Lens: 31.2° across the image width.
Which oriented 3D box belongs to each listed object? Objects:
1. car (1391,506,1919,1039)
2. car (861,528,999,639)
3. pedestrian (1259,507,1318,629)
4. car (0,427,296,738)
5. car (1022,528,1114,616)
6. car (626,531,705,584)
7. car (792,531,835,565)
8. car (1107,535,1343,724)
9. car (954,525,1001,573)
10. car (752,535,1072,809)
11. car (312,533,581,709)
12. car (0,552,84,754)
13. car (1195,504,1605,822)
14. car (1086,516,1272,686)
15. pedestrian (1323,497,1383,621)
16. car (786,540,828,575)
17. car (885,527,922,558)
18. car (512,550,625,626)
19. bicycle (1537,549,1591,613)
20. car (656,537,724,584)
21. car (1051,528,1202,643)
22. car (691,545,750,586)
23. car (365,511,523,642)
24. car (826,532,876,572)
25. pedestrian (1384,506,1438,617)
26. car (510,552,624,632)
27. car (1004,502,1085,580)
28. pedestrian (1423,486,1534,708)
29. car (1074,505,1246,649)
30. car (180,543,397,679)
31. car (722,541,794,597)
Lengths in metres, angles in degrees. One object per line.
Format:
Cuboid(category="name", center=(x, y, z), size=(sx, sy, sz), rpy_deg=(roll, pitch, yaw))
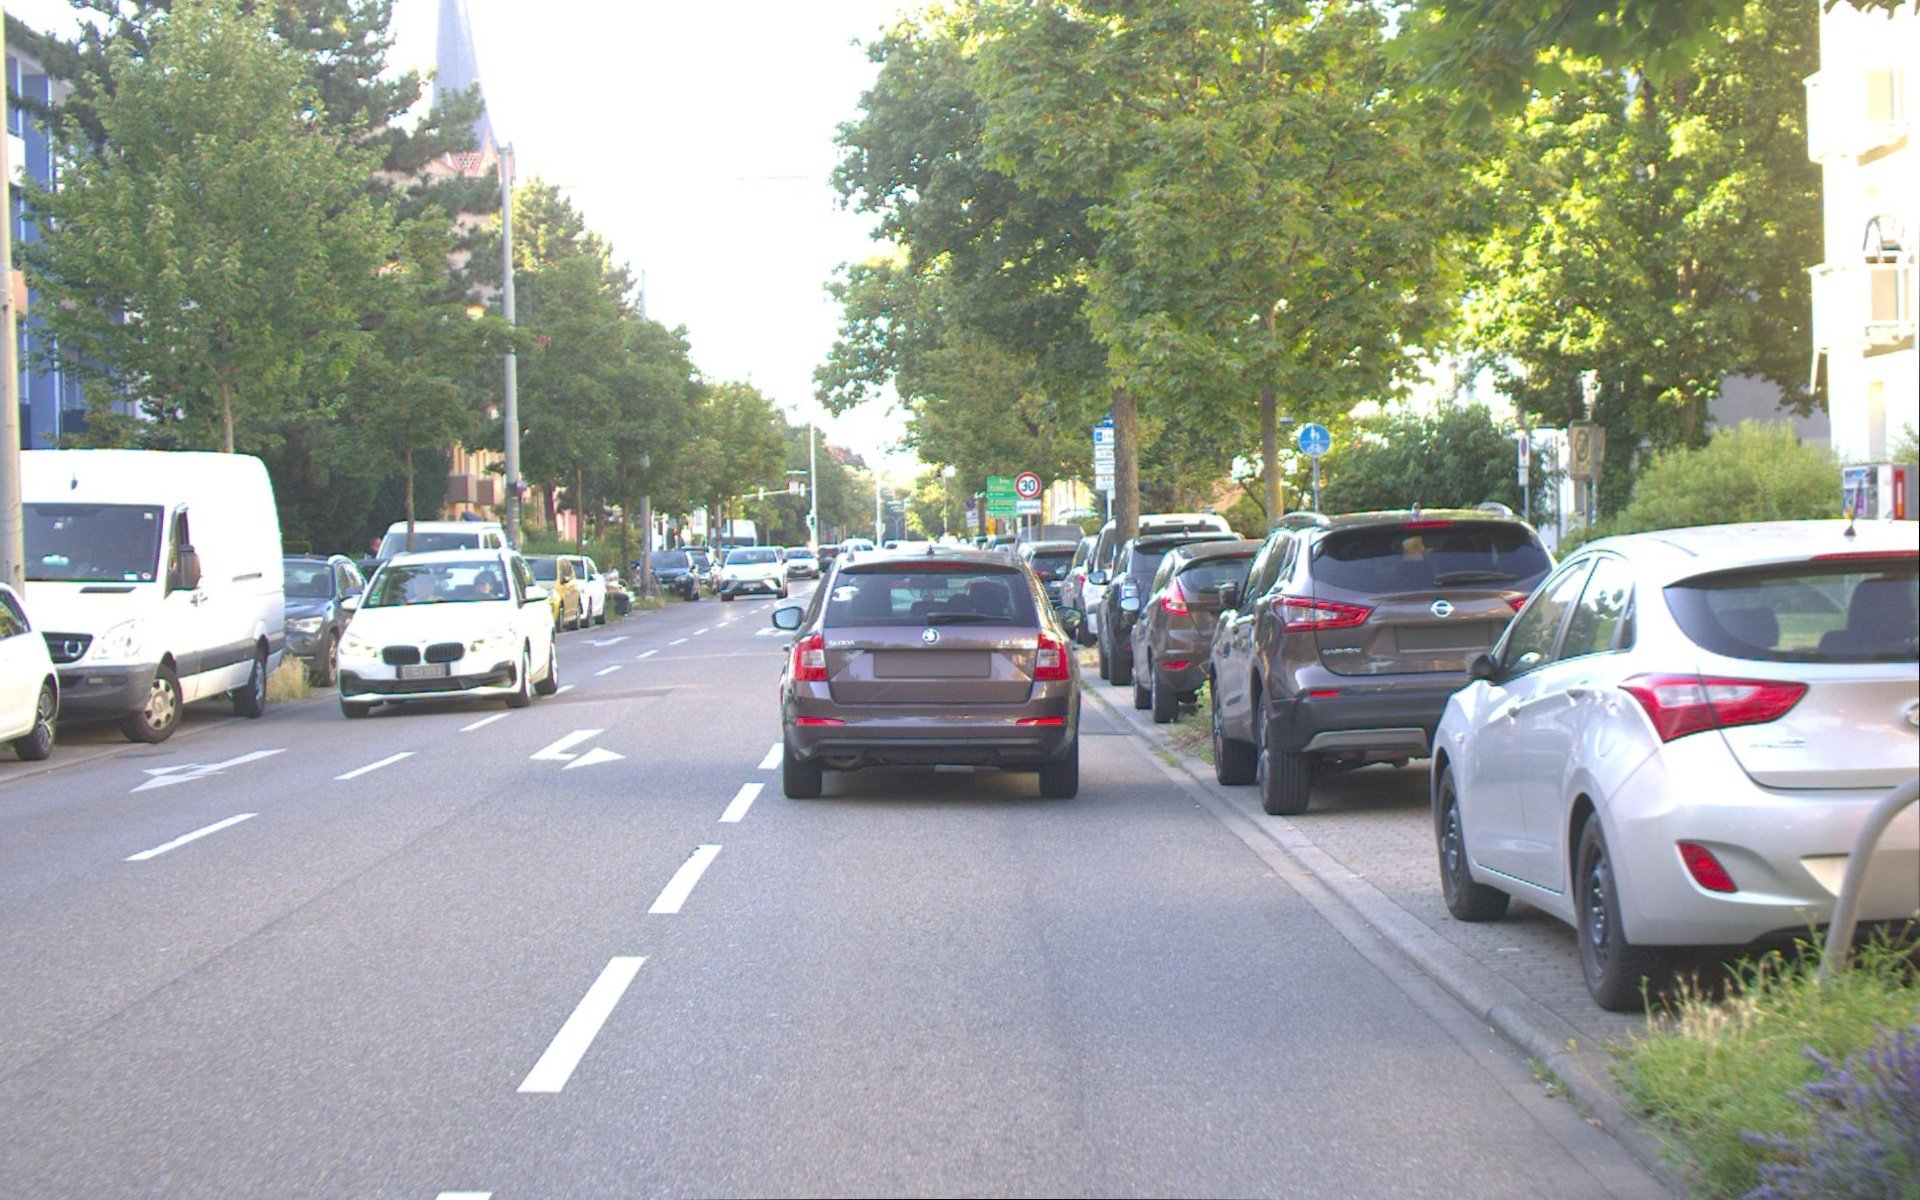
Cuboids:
Cuboid(category="car", center=(2.695, 0.442, 11.898), size=(1.718, 1.489, 4.394), rpy_deg=(-1, 1, -2))
Cuboid(category="car", center=(-0.466, -0.232, 50.934), size=(1.892, 1.501, 3.790), rpy_deg=(3, 0, -1))
Cuboid(category="pedestrian", center=(5.087, -0.493, 53.252), size=(0.749, 1.854, 1.068), rpy_deg=(-1, 1, -1))
Cuboid(category="car", center=(-7.897, -0.209, 32.447), size=(1.993, 2.607, 7.106), rpy_deg=(0, 1, -1))
Cuboid(category="car", center=(2.136, -0.576, 68.760), size=(1.754, 1.681, 4.252), rpy_deg=(1, 1, 1))
Cuboid(category="car", center=(-8.460, -1.234, 99.038), size=(1.781, 1.475, 4.033), rpy_deg=(1, 1, 2))
Cuboid(category="car", center=(-7.764, -2.728, 181.659), size=(1.993, 1.744, 4.001), rpy_deg=(-1, 1, -6))
Cuboid(category="car", center=(2.210, 0.207, 29.503), size=(1.613, 1.461, 3.959), rpy_deg=(-2, 1, -1))
Cuboid(category="car", center=(0.676, -1.978, 133.331), size=(1.754, 1.799, 4.000), rpy_deg=(1, 1, 0))
Cuboid(category="car", center=(-0.229, 0.366, 21.011), size=(1.754, 1.487, 4.000), rpy_deg=(1, 1, 1))
Cuboid(category="car", center=(-5.038, 0.161, 34.270), size=(1.879, 1.537, 4.267), rpy_deg=(-3, 1, 1))
Cuboid(category="car", center=(-8.037, 0.379, 26.152), size=(1.706, 1.487, 4.059), rpy_deg=(2, 1, -1))
Cuboid(category="car", center=(2.382, 0.286, 19.558), size=(1.718, 1.595, 4.096), rpy_deg=(-1, 1, -1))
Cuboid(category="car", center=(2.281, -0.028, 36.715), size=(1.754, 1.657, 4.252), rpy_deg=(-2, 1, 1))
Cuboid(category="pedestrian", center=(6.002, -0.634, 52.451), size=(0.799, 1.854, 0.950), rpy_deg=(-1, 1, 10))
Cuboid(category="car", center=(-6.970, -1.952, 156.995), size=(1.739, 1.474, 4.310), rpy_deg=(-4, 1, -1))
Cuboid(category="car", center=(-3.027, -3.044, 182.943), size=(1.644, 1.593, 3.651), rpy_deg=(-1, 1, -6))
Cuboid(category="car", center=(-8.120, -0.271, 71.577), size=(1.781, 1.489, 3.971), rpy_deg=(1, 1, 2))
Cuboid(category="bicycle", center=(9.196, -0.302, 52.368), size=(0.475, 0.941, 1.680), rpy_deg=(-1, 1, -1))
Cuboid(category="car", center=(-8.733, -1.304, 111.557), size=(1.781, 1.475, 3.971), rpy_deg=(1, 1, 2))
Cuboid(category="car", center=(2.406, -0.237, 50.656), size=(1.754, 1.551, 4.253), rpy_deg=(-2, 1, -3))
Cuboid(category="car", center=(-8.878, -1.308, 127.729), size=(1.781, 1.475, 3.971), rpy_deg=(1, 1, 2))
Cuboid(category="car", center=(-8.291, -0.406, 55.601), size=(1.868, 2.024, 5.301), rpy_deg=(0, 1, -1))
Cuboid(category="car", center=(-4.173, -1.841, 131.540), size=(1.780, 1.475, 3.971), rpy_deg=(1, 1, -4))
Cuboid(category="pedestrian", center=(7.118, -0.613, 54.281), size=(0.799, 1.716, 0.744), rpy_deg=(-1, 1, 8))
Cuboid(category="car", center=(-7.533, -0.181, 66.200), size=(1.619, 1.475, 3.871), rpy_deg=(1, 1, 2))
Cuboid(category="car", center=(2.079, -1.466, 85.191), size=(1.916, 1.854, 5.633), rpy_deg=(-1, 1, 1))
Cuboid(category="pedestrian", center=(4.020, -0.026, 26.706), size=(0.788, 1.694, 0.807), rpy_deg=(0, 0, 4))
Cuboid(category="car", center=(2.616, -0.328, 45.897), size=(1.800, 1.802, 4.424), rpy_deg=(1, 1, -3))
Cuboid(category="car", center=(-8.126, 0.092, 41.970), size=(1.672, 1.537, 4.473), rpy_deg=(-1, 1, 1))
Cuboid(category="car", center=(-5.751, -0.910, 98.187), size=(1.781, 1.489, 3.971), rpy_deg=(-3, 1, 0))
